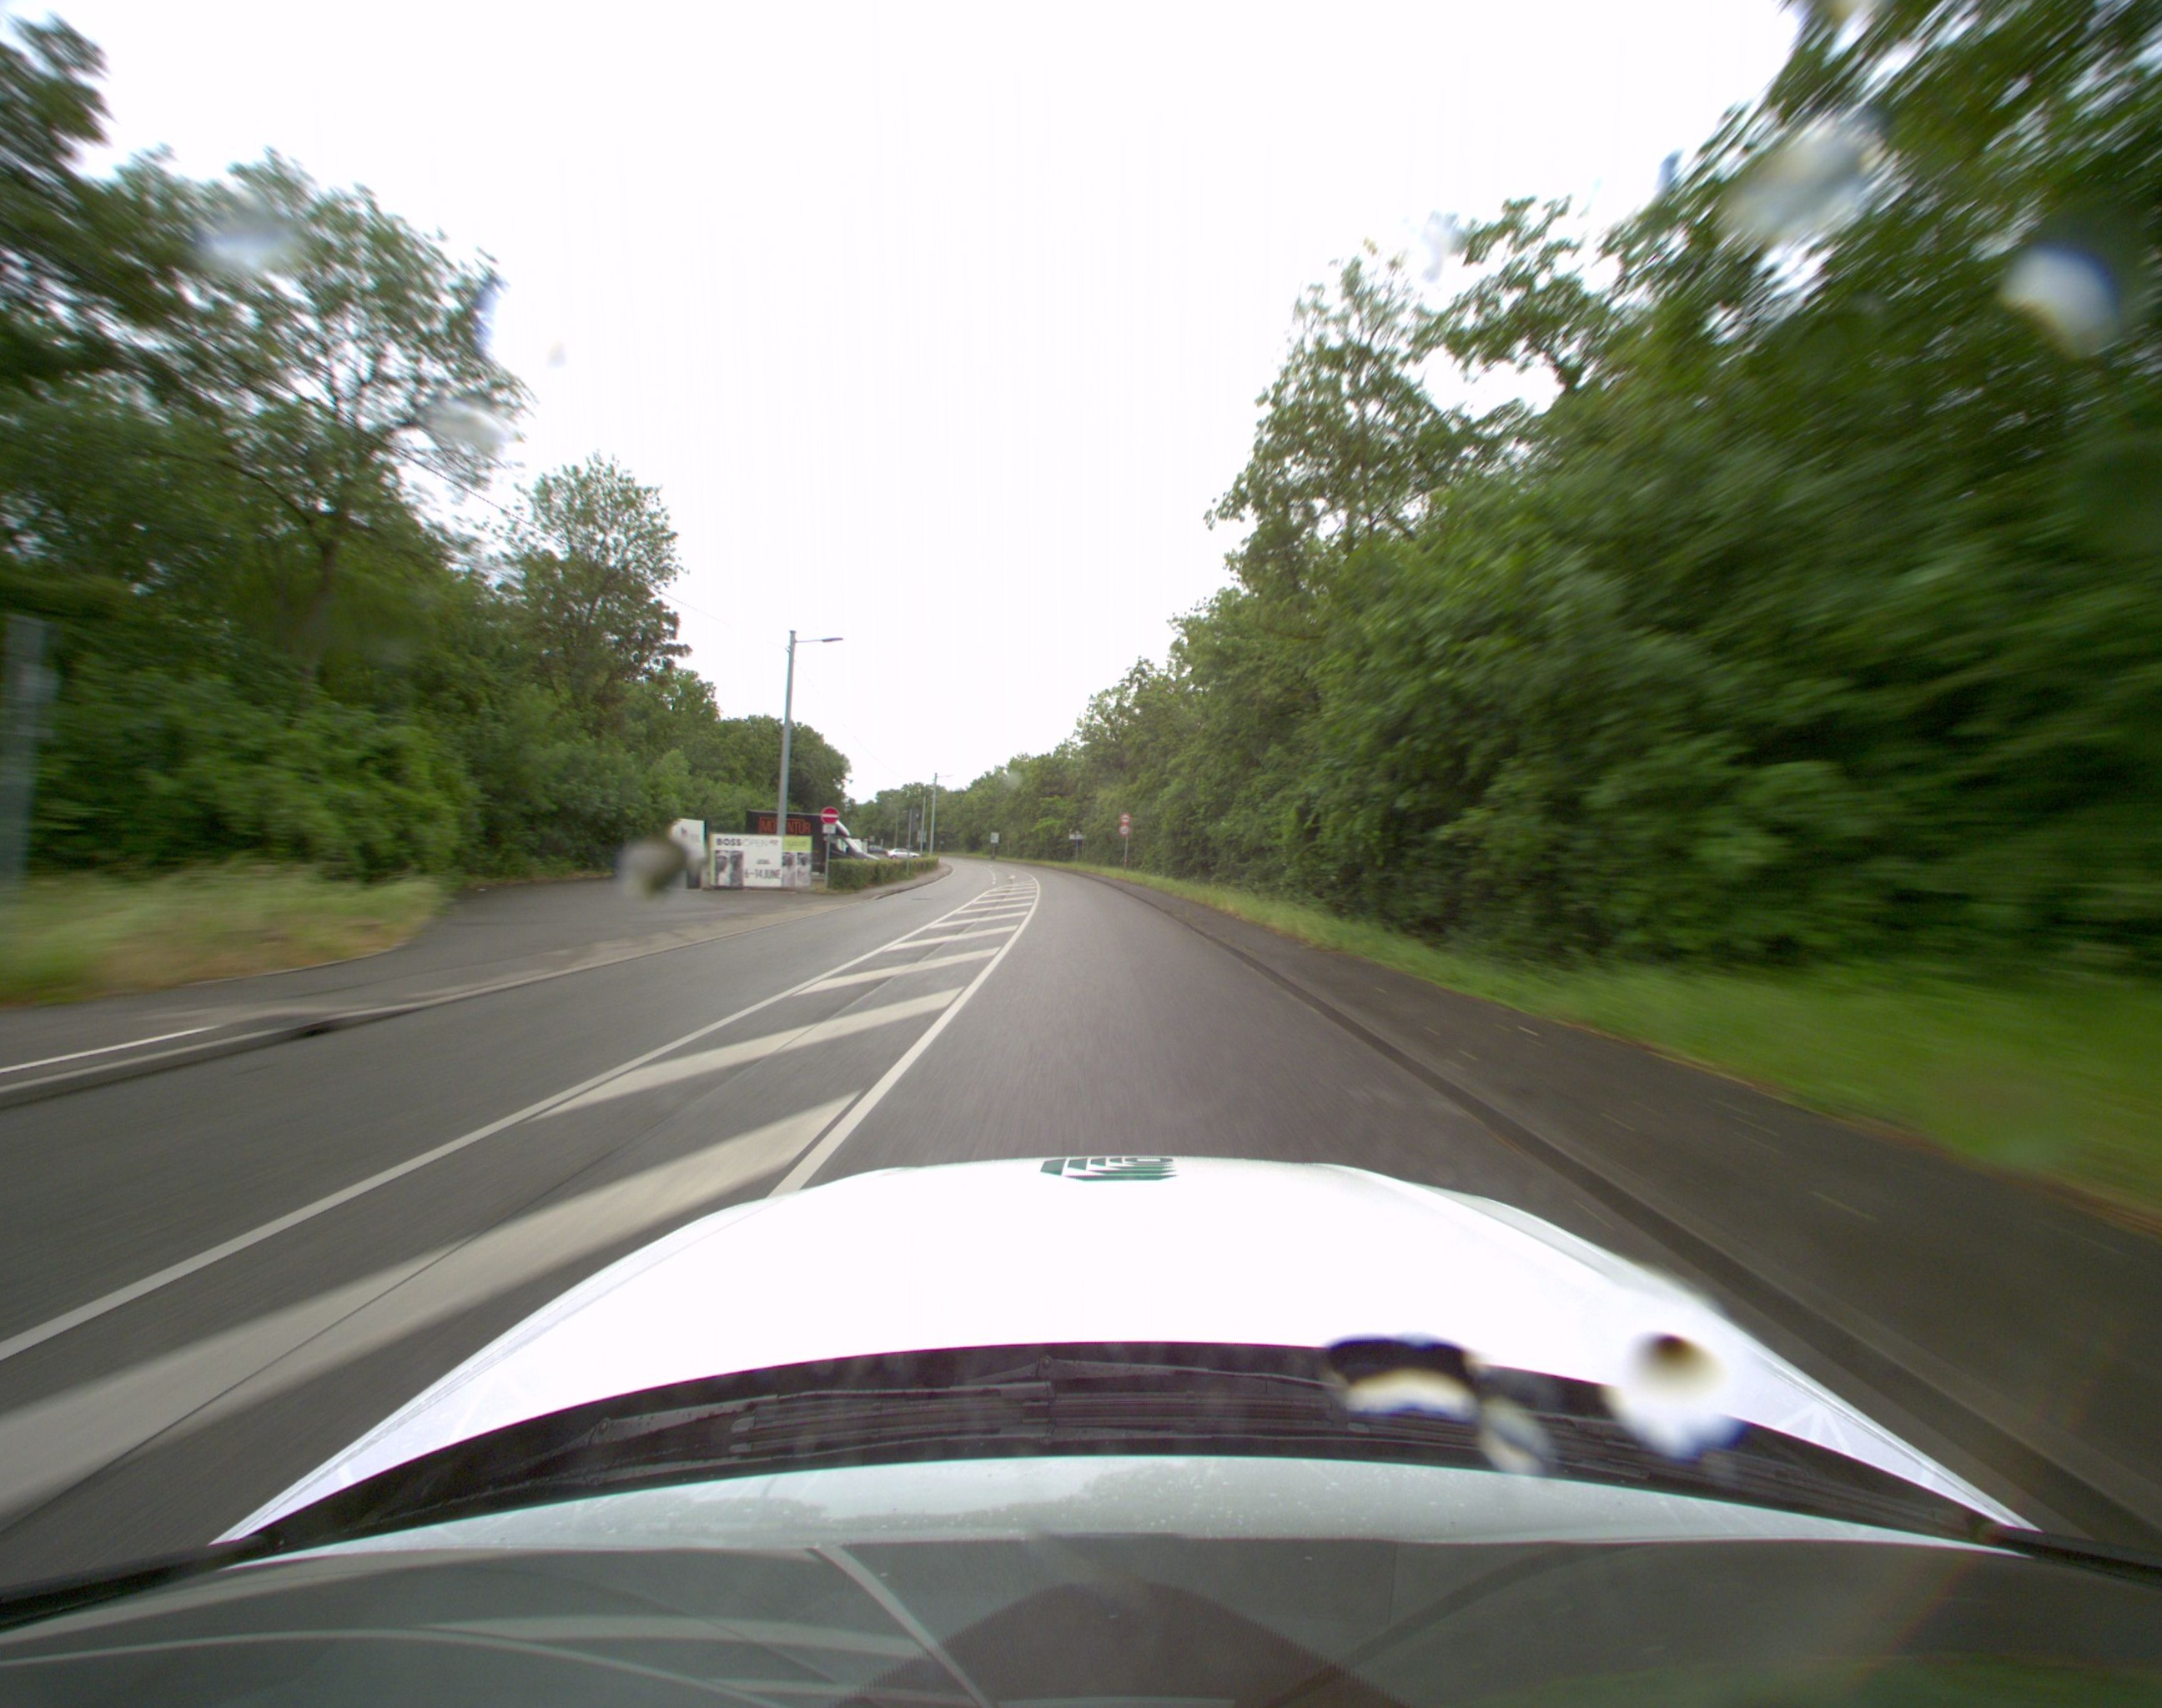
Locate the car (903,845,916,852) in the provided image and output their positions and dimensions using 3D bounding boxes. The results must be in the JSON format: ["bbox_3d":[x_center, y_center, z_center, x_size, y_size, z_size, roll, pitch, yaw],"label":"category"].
[{"bbox_3d":[-38.588,-1.301,183.293,1.945,1.498,4.282,1,0,-25],"label":"car"}]

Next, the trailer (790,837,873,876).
[{"bbox_3d":[-13.644,0.154,44.746,3.981,2.053,1.869,1,0,-6],"label":"trailer"}]

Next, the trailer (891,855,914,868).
[{"bbox_3d":[-14.334,0.586,65.419,1.802,1.034,1.328,1,0,-12],"label":"trailer"}]

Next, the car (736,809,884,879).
[{"bbox_3d":[-12.933,-0.434,39.363,6.269,3.113,2.744,1,-1,-9],"label":"car"}]

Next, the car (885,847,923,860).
[{"bbox_3d":[-22.971,-0.052,105.930,4.591,1.506,1.987,1,0,-21],"label":"car"}]

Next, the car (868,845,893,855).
[{"bbox_3d":[-36.971,-0.675,149.841,4.301,1.708,1.988,2,0,-18],"label":"car"}]

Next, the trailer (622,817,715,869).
[{"bbox_3d":[-24.575,-0.621,48.987,2.474,2.873,7.954,0,0,-8],"label":"trailer"}]
